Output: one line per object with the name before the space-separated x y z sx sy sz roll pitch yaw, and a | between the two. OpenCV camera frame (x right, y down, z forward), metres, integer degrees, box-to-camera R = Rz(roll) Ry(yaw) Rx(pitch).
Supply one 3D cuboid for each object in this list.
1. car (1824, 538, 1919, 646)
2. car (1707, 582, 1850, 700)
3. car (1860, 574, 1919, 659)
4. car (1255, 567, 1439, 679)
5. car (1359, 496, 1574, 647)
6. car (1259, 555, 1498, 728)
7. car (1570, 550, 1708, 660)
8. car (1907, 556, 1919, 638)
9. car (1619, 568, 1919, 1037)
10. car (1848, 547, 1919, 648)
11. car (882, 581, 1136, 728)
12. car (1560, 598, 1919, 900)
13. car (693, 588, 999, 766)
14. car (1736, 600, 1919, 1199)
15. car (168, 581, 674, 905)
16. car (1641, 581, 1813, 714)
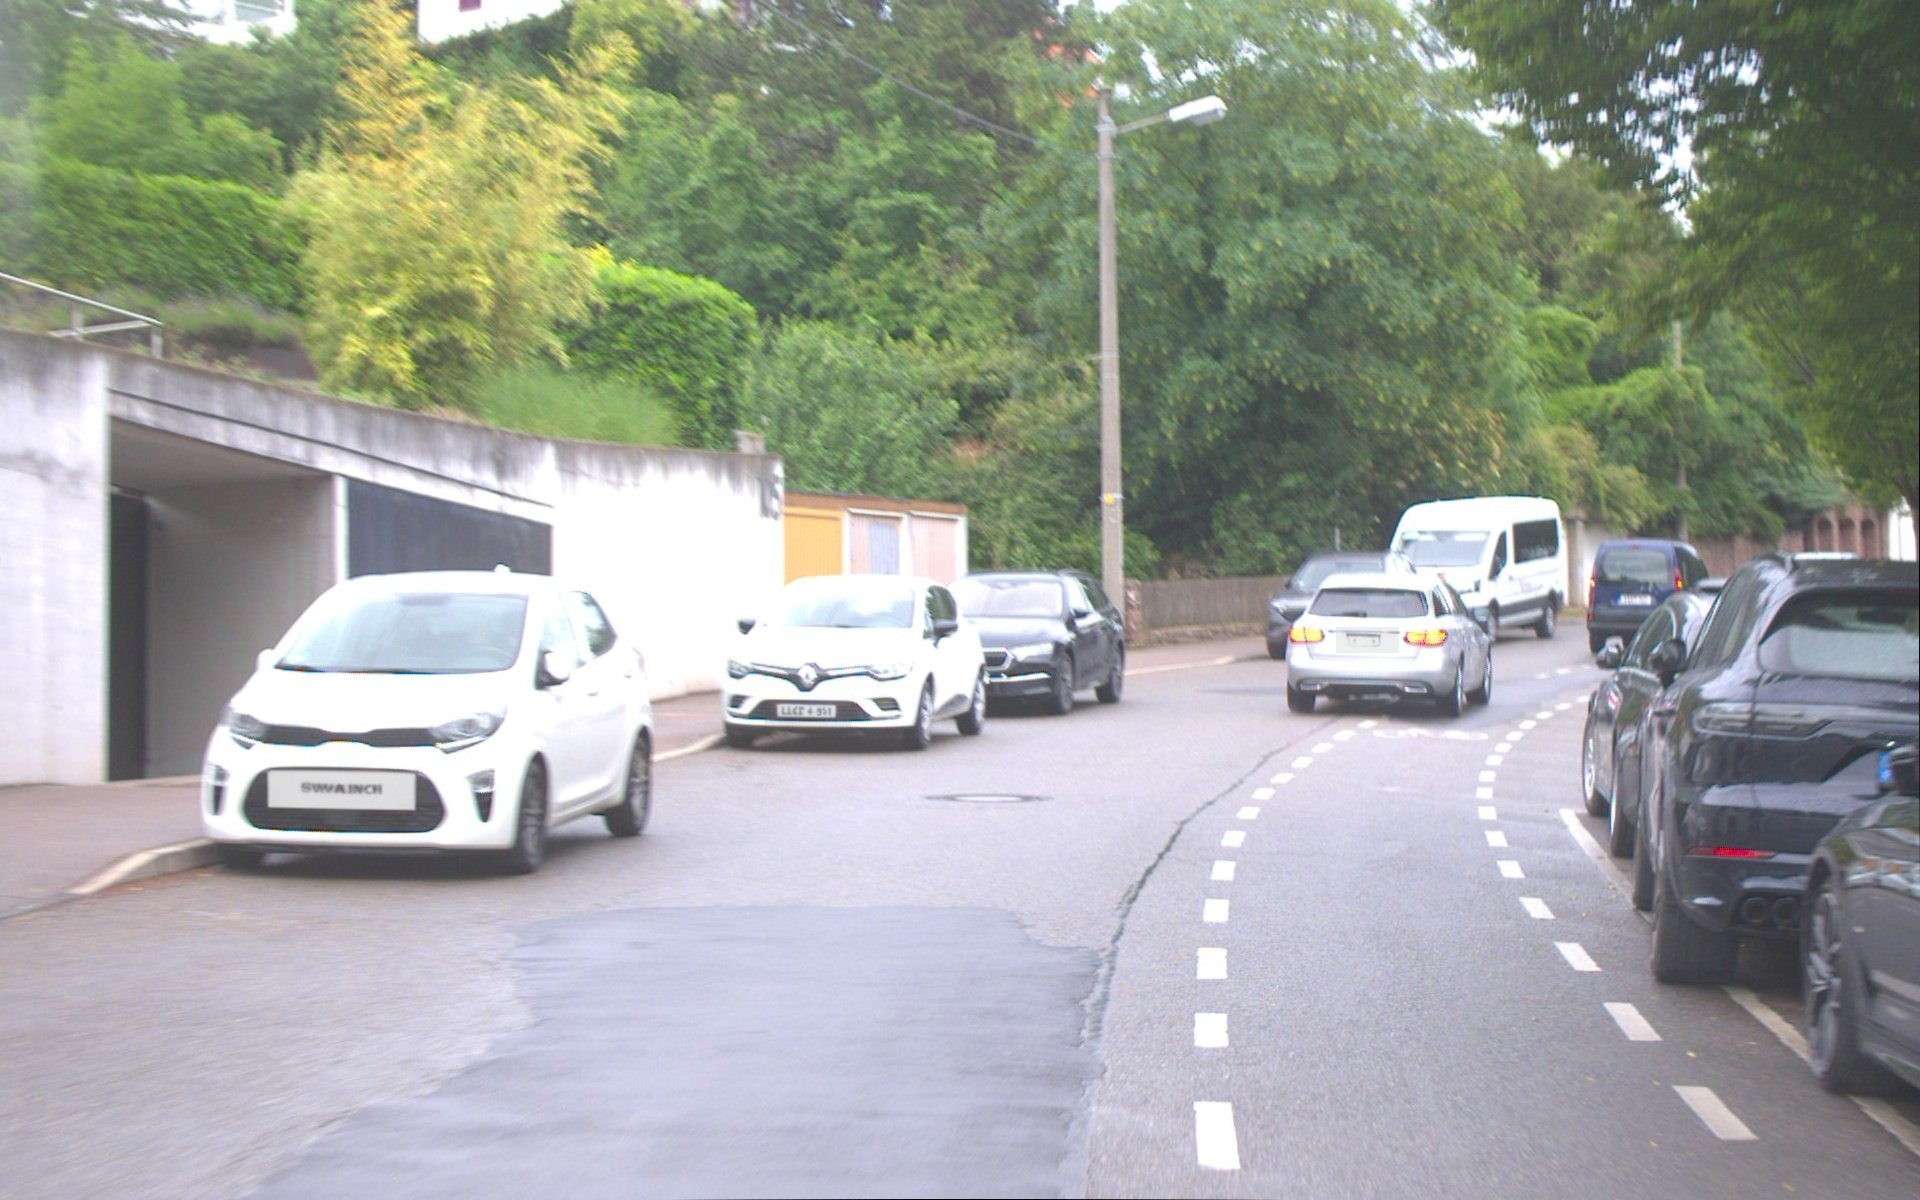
car | 13.893 -0.135 50.972 1.656 1.514 3.996 2 1 20
car | 11.463 0.542 48.031 1.628 1.557 3.019 1 1 19
car | 17.438 0.282 61.818 1.645 1.419 4.282 2 2 25
car | 6.122 0.331 53.965 1.897 1.685 4.541 -1 0 19
car | 9.054 -0.534 60.983 2.097 2.541 6.089 0 1 25
car | 4.517 0.405 36.560 2.026 1.702 4.213 1 0 14
car | 11.144 0.073 56.259 1.995 1.702 3.997 1 0 14
car | 19.690 -0.062 66.627 1.717 1.550 4.157 2 2 27
car | 3.912 0.700 14.705 2.055 1.650 5.233 0 0 10
car | 15.682 -0.060 55.645 1.778 1.547 4.722 2 1 24
car | 0.599 0.528 36.626 1.714 1.454 4.679 0 0 14
car | 4.666 0.778 20.460 1.862 1.464 5.054 3 1 7
car | -0.918 0.620 30.093 1.833 1.435 4.038 0 0 11
car | 3.395 0.816 8.832 1.855 1.575 4.857 0 0 2
car | -2.735 0.667 18.284 1.627 1.510 3.831 0 1 8
car | 9.315 0.534 41.602 1.670 1.466 3.707 2 1 18
